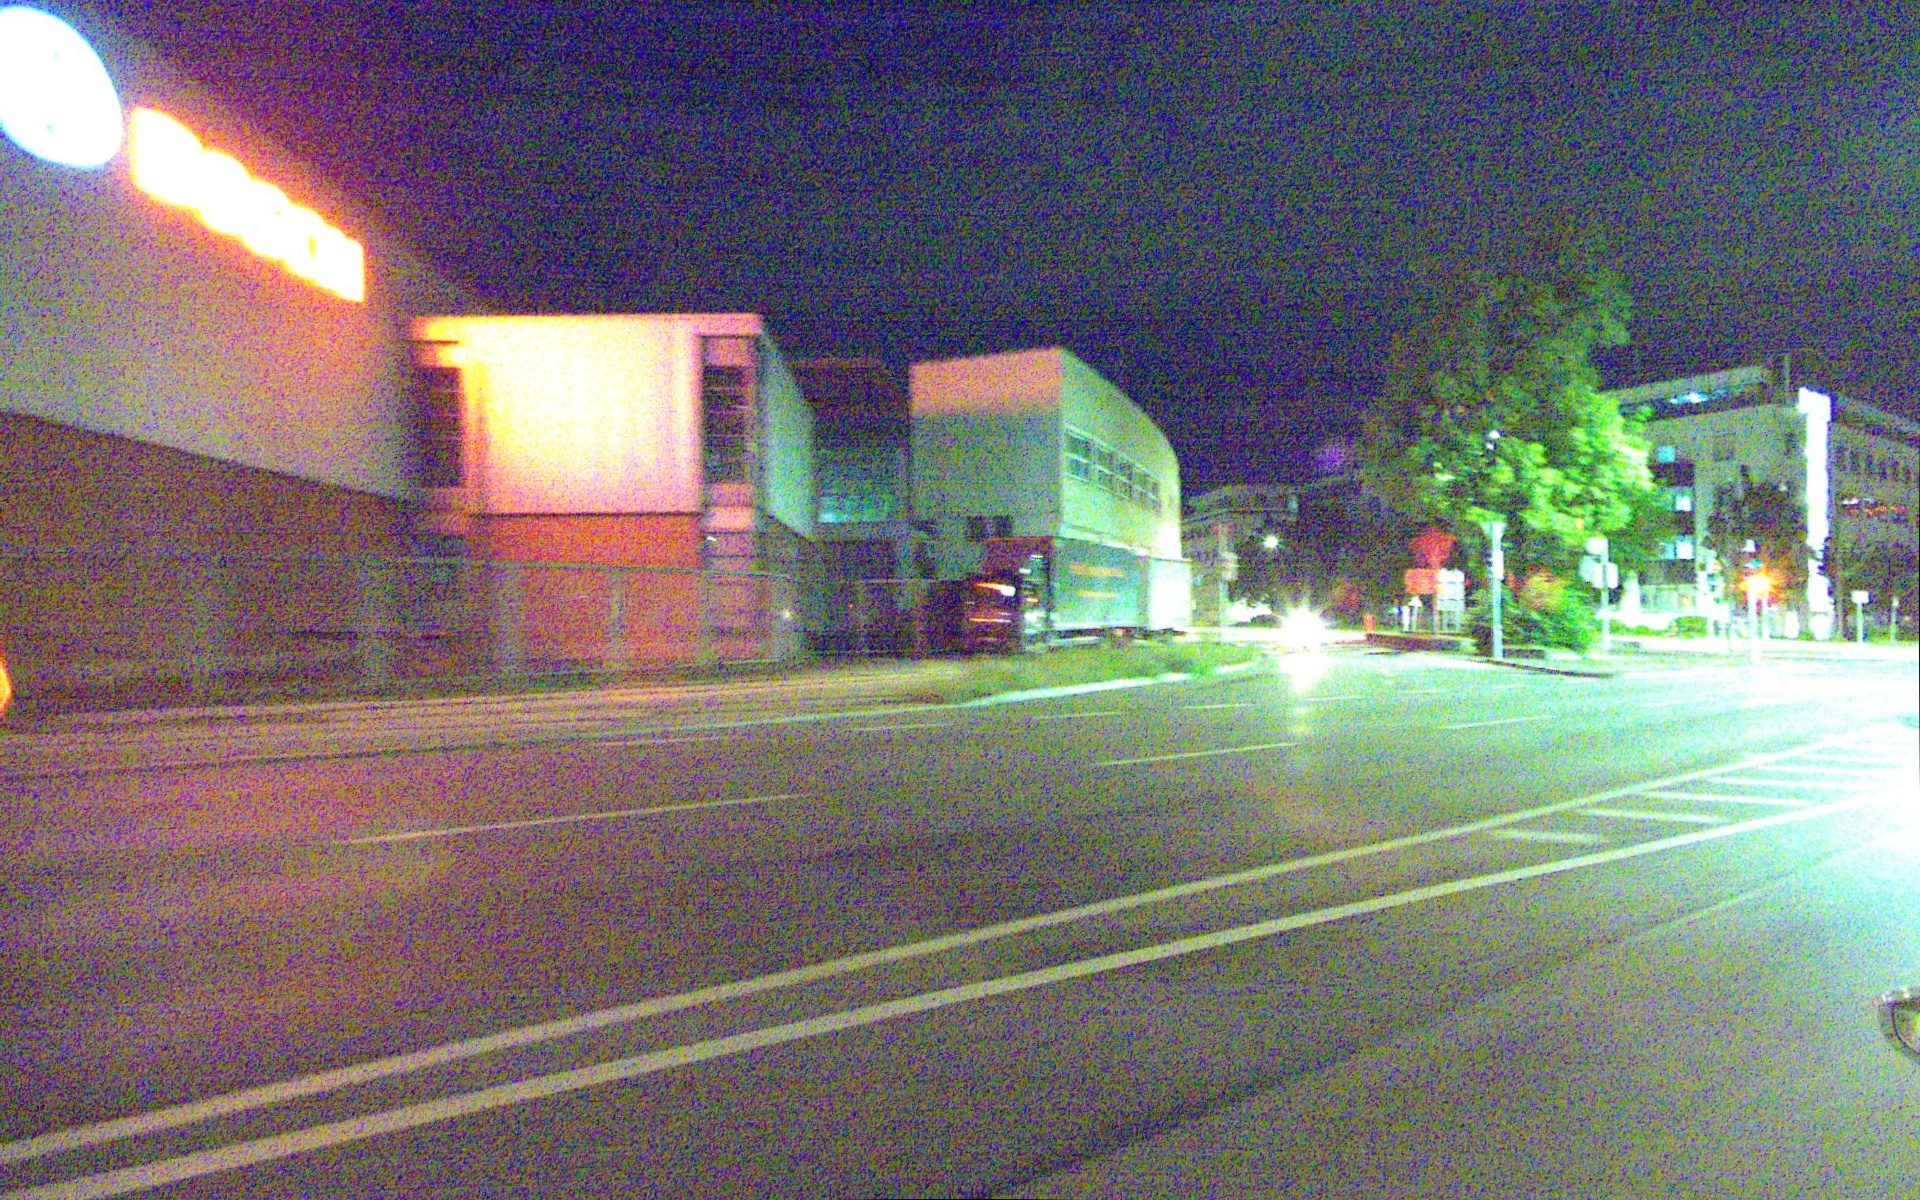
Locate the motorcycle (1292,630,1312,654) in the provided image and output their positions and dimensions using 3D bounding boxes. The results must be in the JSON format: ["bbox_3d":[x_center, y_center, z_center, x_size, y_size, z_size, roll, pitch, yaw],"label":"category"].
[{"bbox_3d":[13.875,1.697,40.811,0.568,0.907,2.157,-2,-2,14],"label":"motorcycle"}]

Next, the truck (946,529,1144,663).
[{"bbox_3d":[3.206,0.005,33.776,2.895,3.846,9.541,1,-1,29],"label":"truck"}]

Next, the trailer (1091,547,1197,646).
[{"bbox_3d":[7.902,-0.050,42.483,2.574,3.841,6.506,1,-1,28],"label":"trailer"}]

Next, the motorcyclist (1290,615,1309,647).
[{"bbox_3d":[13.756,1.243,40.714,0.635,1.278,0.579,1,-1,14],"label":"motorcyclist"}]
